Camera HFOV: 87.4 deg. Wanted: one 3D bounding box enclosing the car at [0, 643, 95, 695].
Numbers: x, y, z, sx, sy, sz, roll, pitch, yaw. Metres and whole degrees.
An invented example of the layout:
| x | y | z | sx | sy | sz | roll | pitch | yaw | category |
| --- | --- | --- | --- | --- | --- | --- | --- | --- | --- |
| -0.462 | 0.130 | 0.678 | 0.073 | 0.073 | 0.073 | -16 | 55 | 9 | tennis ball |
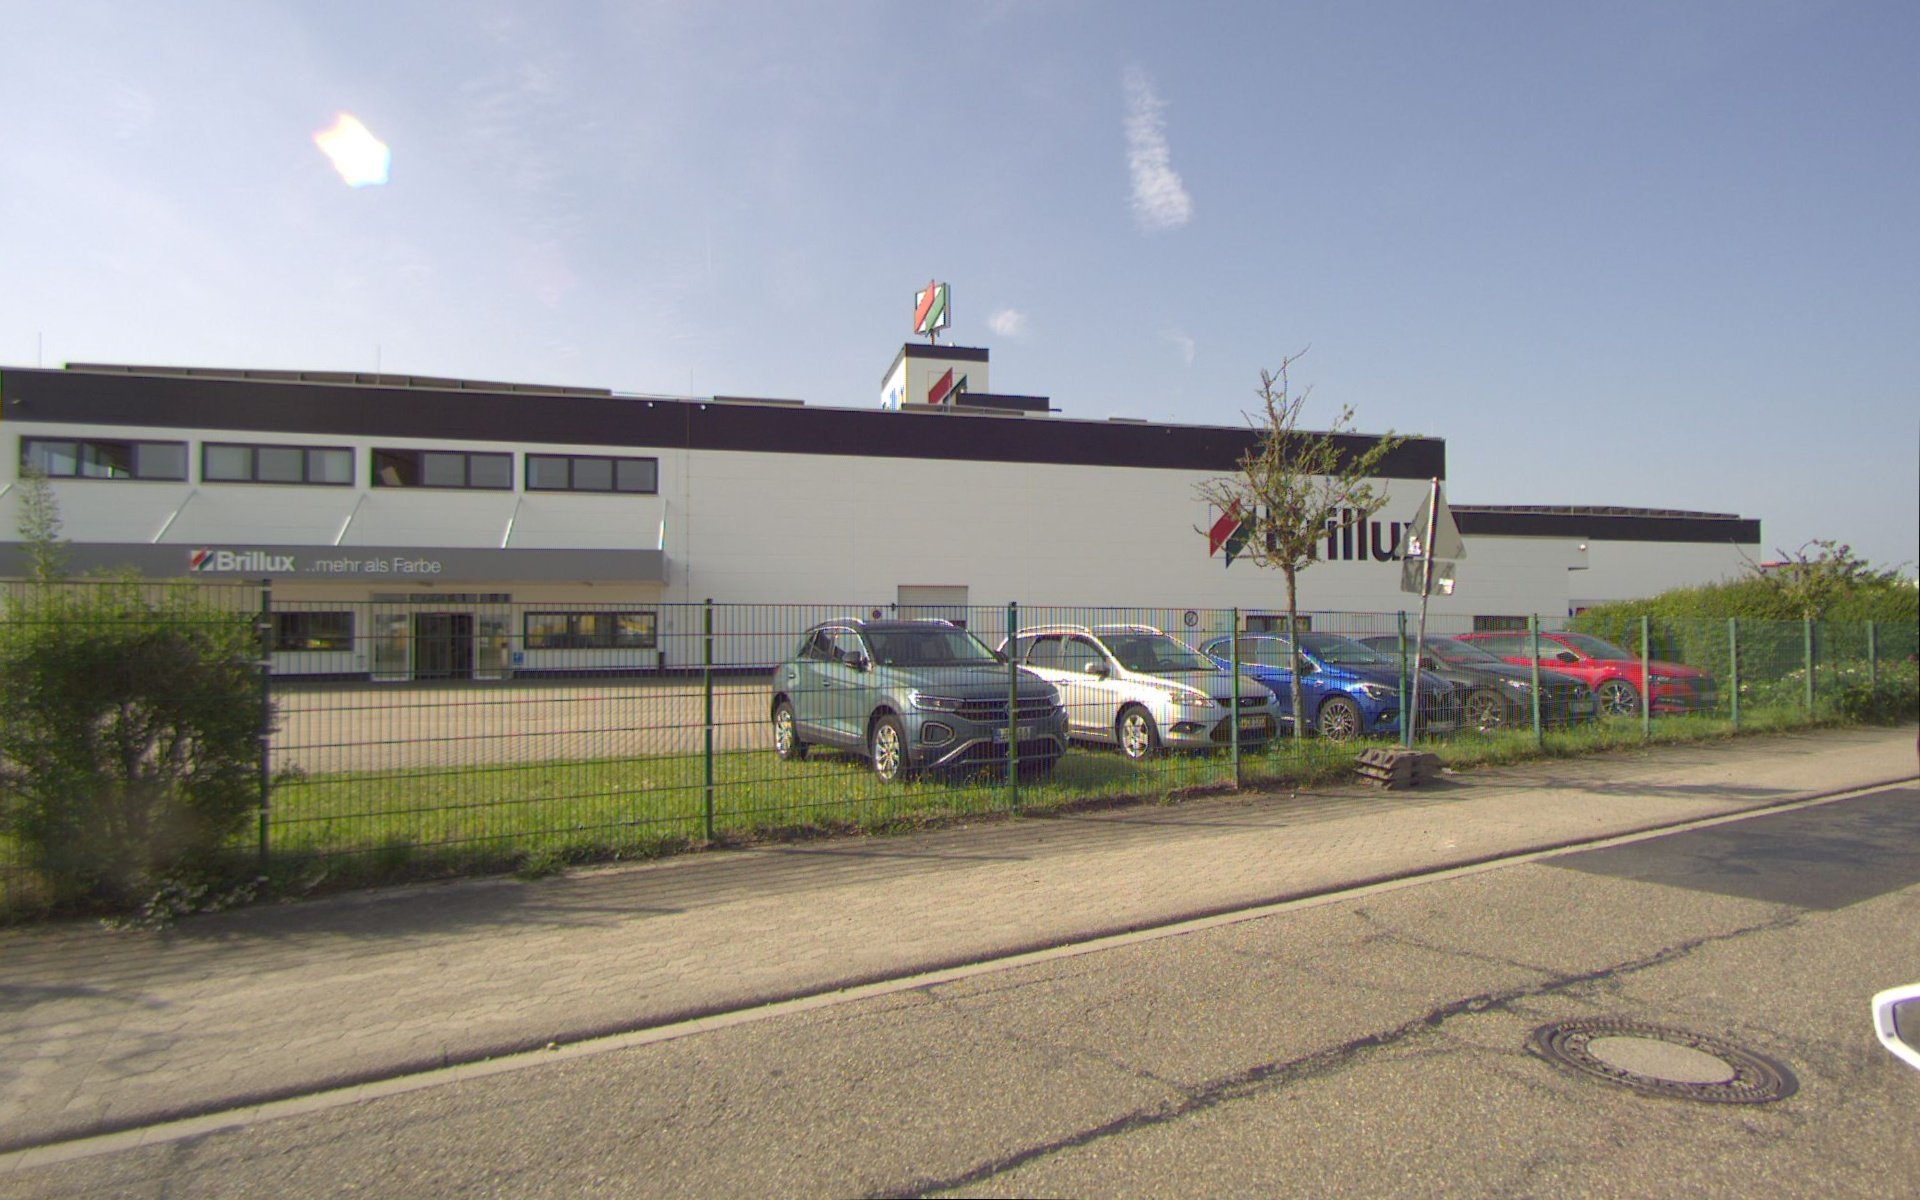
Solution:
| x | y | z | sx | sy | sz | roll | pitch | yaw | category |
| --- | --- | --- | --- | --- | --- | --- | --- | --- | --- |
| -32.550 | 2.315 | 33.710 | 5.004 | 1.724 | 1.984 | 1 | -3 | -31 | car |

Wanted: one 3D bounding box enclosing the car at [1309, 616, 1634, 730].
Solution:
| x | y | z | sx | sy | sz | roll | pitch | yaw | category |
| --- | --- | --- | --- | --- | --- | --- | --- | --- | --- |
| 7.540 | 1.081 | 15.218 | 1.852 | 1.462 | 4.022 | 1 | -4 | -30 | car |

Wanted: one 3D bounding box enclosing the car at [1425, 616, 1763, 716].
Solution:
| x | y | z | sx | sy | sz | roll | pitch | yaw | category |
| --- | --- | --- | --- | --- | --- | --- | --- | --- | --- |
| 10.669 | 1.129 | 17.301 | 1.929 | 1.462 | 4.516 | 1 | -4 | -30 | car |

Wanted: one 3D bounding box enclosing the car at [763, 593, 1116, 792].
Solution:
| x | y | z | sx | sy | sz | roll | pitch | yaw | category |
| --- | --- | --- | --- | --- | --- | --- | --- | --- | --- |
| -0.446 | 0.874 | 10.270 | 1.843 | 1.588 | 4.109 | 1 | -4 | -30 | car |

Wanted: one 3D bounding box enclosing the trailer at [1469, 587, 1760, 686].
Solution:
| x | y | z | sx | sy | sz | roll | pitch | yaw | category |
| --- | --- | --- | --- | --- | --- | --- | --- | --- | --- |
| 29.688 | 1.700 | 45.441 | 13.655 | 4.095 | 2.483 | 2 | -1 | -15 | trailer |

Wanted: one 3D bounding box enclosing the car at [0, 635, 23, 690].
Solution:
| x | y | z | sx | sy | sz | roll | pitch | yaw | category |
| --- | --- | --- | --- | --- | --- | --- | --- | --- | --- |
| -32.242 | 1.937 | 30.638 | 5.008 | 1.724 | 1.982 | 1 | -3 | -33 | car |

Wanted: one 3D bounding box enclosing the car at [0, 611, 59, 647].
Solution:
| x | y | z | sx | sy | sz | roll | pitch | yaw | category |
| --- | --- | --- | --- | --- | --- | --- | --- | --- | --- |
| -47.551 | 1.443 | 49.807 | 3.953 | 1.728 | 1.777 | 1 | -2 | -30 | car |

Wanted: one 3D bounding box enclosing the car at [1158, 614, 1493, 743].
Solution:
| x | y | z | sx | sy | sz | roll | pitch | yaw | category |
| --- | --- | --- | --- | --- | --- | --- | --- | --- | --- |
| 4.763 | 1.032 | 13.681 | 1.852 | 1.462 | 4.022 | 1 | -4 | -30 | car |

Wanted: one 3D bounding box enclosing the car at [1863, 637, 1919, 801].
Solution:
| x | y | z | sx | sy | sz | roll | pitch | yaw | category |
| --- | --- | --- | --- | --- | --- | --- | --- | --- | --- |
| 10.778 | 1.053 | 9.625 | 4.370 | 1.468 | 1.984 | 1 | -5 | -32 | car |

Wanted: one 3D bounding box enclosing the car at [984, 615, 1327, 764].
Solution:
| x | y | z | sx | sy | sz | roll | pitch | yaw | category |
| --- | --- | --- | --- | --- | --- | --- | --- | --- | --- |
| 2.127 | 1.012 | 12.070 | 1.852 | 1.462 | 4.022 | 1 | -4 | -30 | car |
